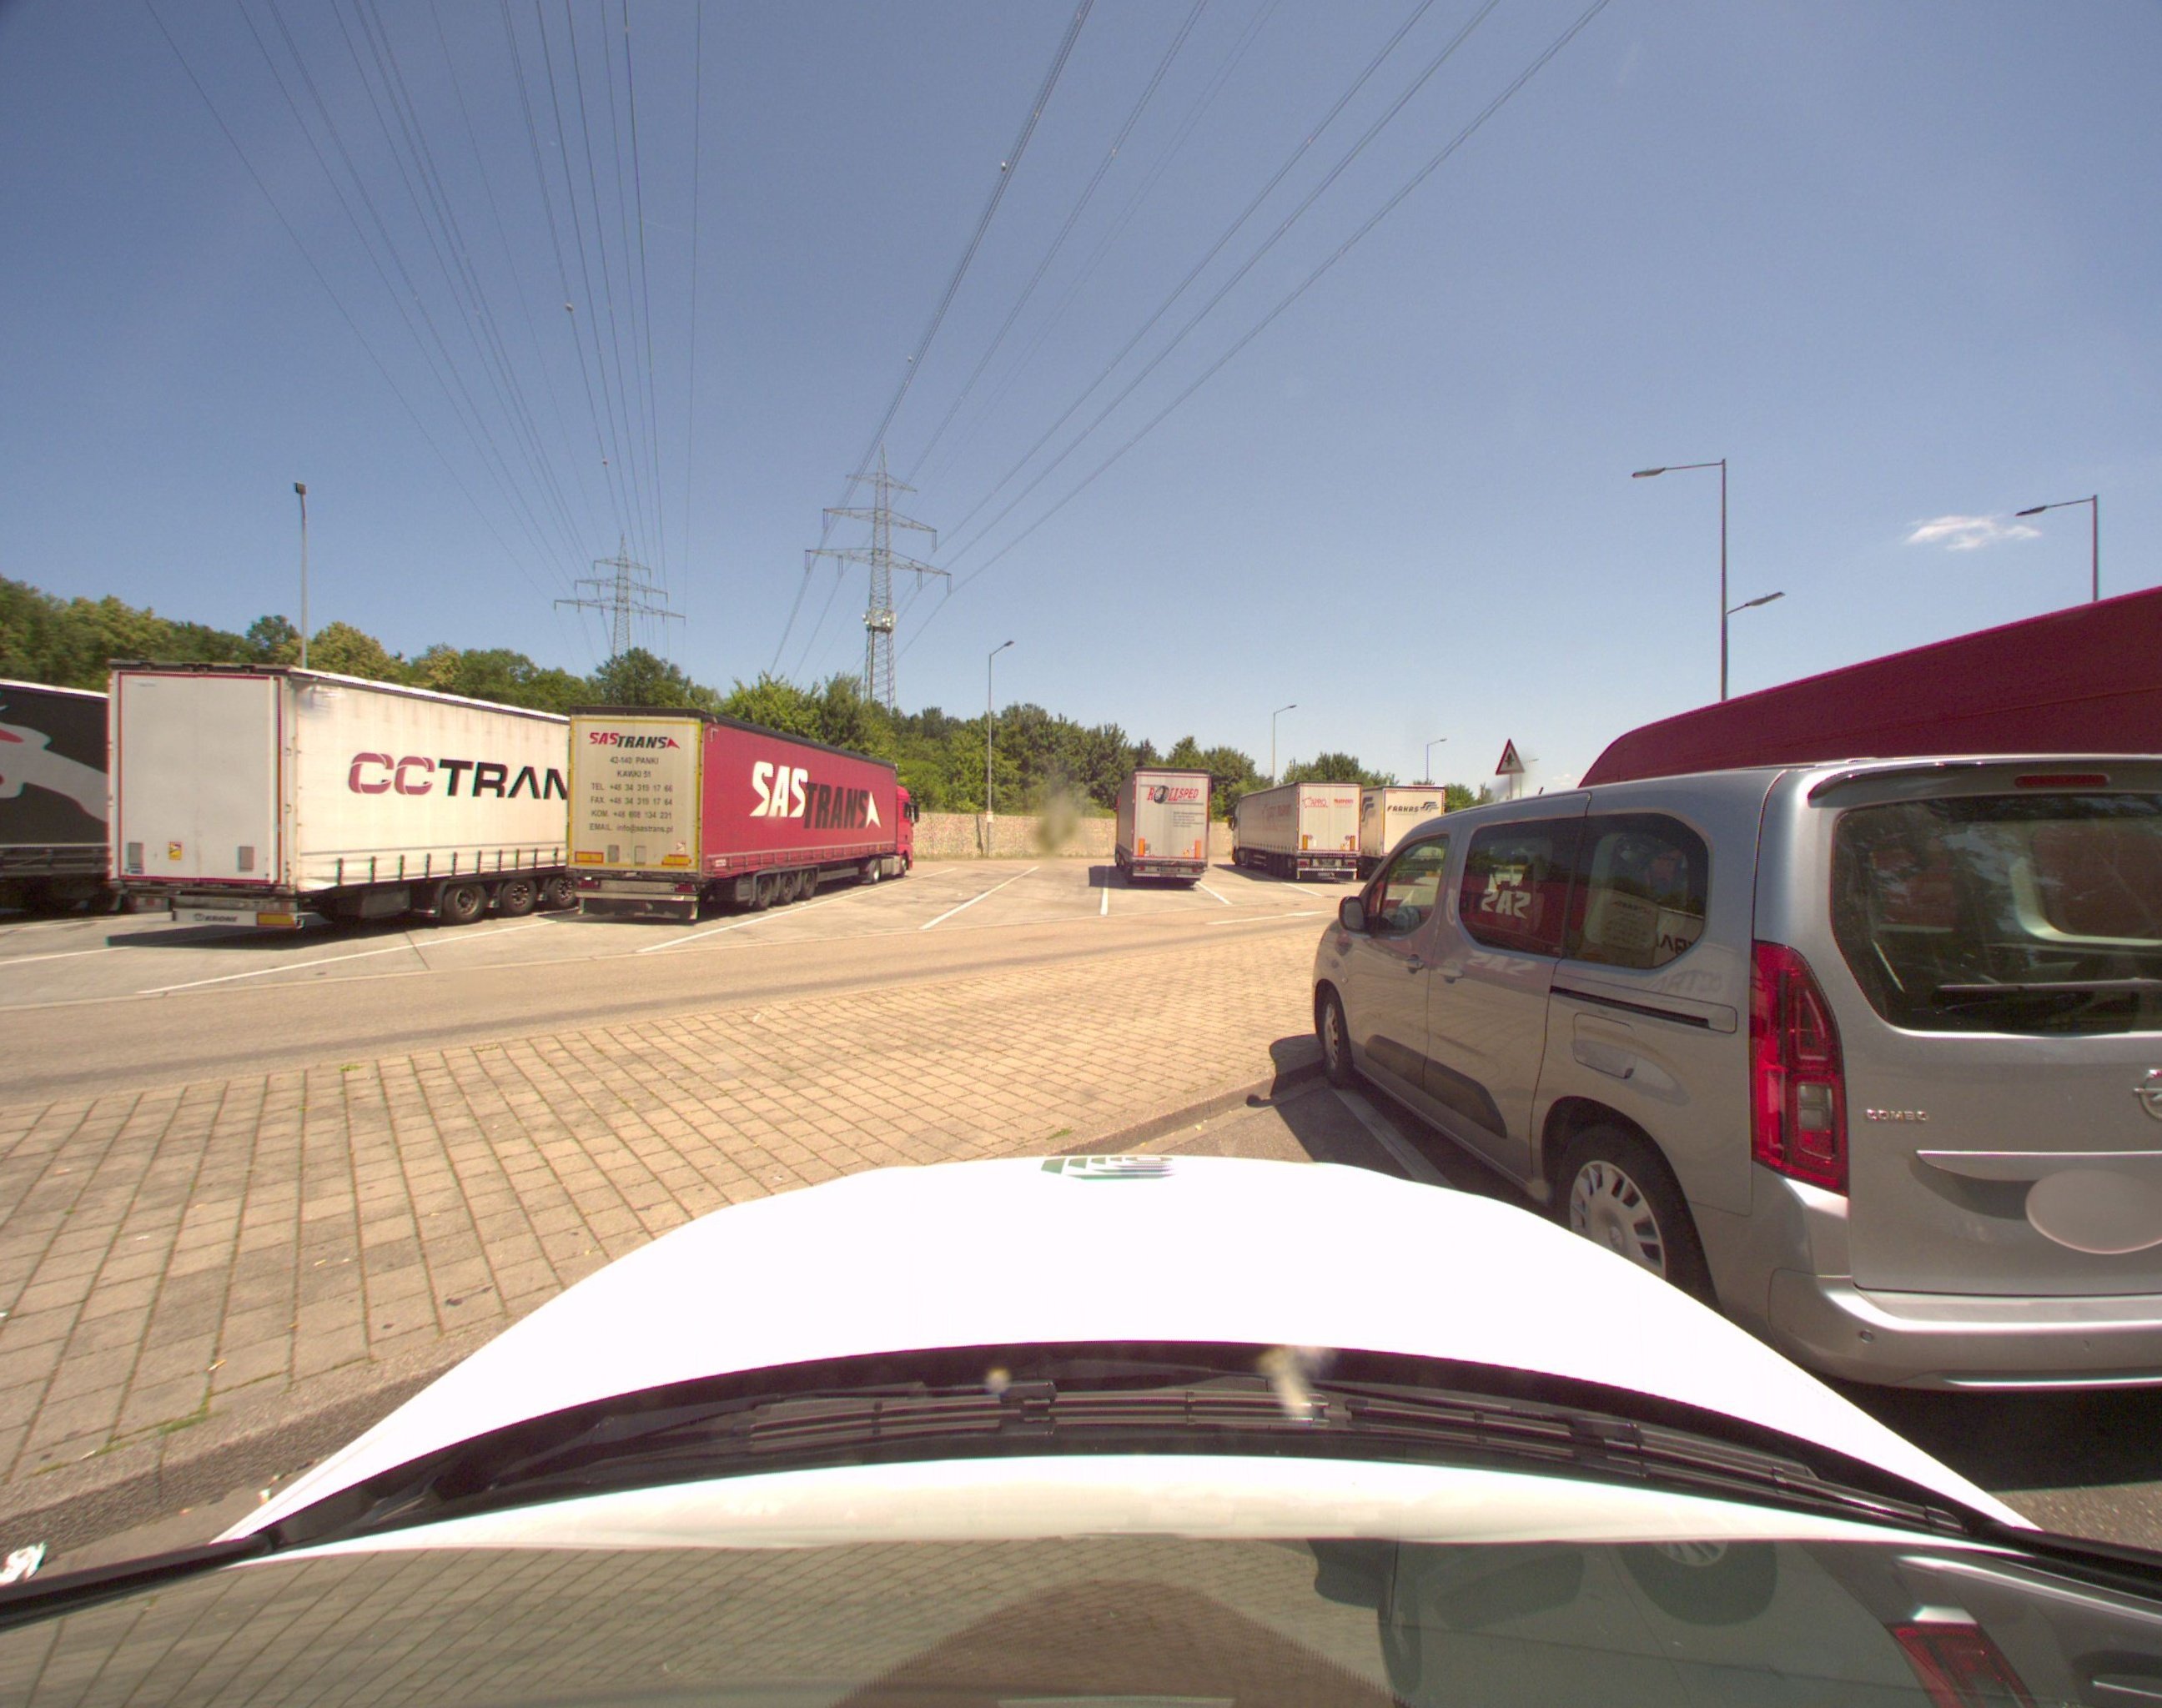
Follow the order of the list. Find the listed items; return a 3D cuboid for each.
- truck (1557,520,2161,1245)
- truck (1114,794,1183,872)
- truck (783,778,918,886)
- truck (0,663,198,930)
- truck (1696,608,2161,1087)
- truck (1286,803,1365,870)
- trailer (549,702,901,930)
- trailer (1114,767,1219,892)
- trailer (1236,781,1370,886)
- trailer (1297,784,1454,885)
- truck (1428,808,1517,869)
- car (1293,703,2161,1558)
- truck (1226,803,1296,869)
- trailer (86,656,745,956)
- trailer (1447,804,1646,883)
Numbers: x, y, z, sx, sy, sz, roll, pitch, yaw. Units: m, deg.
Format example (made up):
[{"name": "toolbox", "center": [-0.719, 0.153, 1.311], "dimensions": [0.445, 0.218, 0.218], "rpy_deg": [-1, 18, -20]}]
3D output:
[{"name": "truck", "center": [5.135, 0.121, 4.895], "dimensions": [1.968, 2.622, 5.314], "rpy_deg": [0, -1, 7]}, {"name": "truck", "center": [3.231, -1.078, 40.578], "dimensions": [3.092, 3.566, 5.903], "rpy_deg": [1, 2, 2]}, {"name": "truck", "center": [-7.814, -0.781, 28.464], "dimensions": [2.840, 3.327, 5.903], "rpy_deg": [1, 2, 2]}, {"name": "truck", "center": [-18.540, -0.964, 13.773], "dimensions": [2.726, 4.239, 3.997], "rpy_deg": [1, 2, 2]}, {"name": "truck", "center": [7.991, -0.035, 6.443], "dimensions": [2.444, 2.912, 5.663], "rpy_deg": [-1, -1, 7]}, {"name": "truck", "center": [13.846, -1.033, 46.604], "dimensions": [2.792, 3.521, 5.903], "rpy_deg": [1, 2, 2]}, {"name": "trailer", "center": [-8.063, -0.944, 21.894], "dimensions": [2.781, 4.084, 14.139], "rpy_deg": [1, 2, 2]}, {"name": "trailer", "center": [3.065, -1.062, 33.684], "dimensions": [3.122, 3.989, 14.401], "rpy_deg": [1, 2, 1]}, {"name": "trailer", "center": [9.931, -1.043, 38.632], "dimensions": [2.801, 3.989, 14.403], "rpy_deg": [1, 2, 2]}, {"name": "trailer", "center": [13.604, -1.035, 39.594], "dimensions": [2.801, 3.989, 14.403], "rpy_deg": [1, 2, 2]}, {"name": "truck", "center": [24.358, -1.006, 50.972], "dimensions": [2.792, 3.521, 5.903], "rpy_deg": [1, 2, 2]}, {"name": "car", "center": [2.489, 0.576, 3.871], "dimensions": [1.864, 1.863, 4.176], "rpy_deg": [1, 1, 0]}, {"name": "truck", "center": [10.194, -1.073, 46.733], "dimensions": [2.852, 3.521, 5.903], "rpy_deg": [1, 2, 2]}, {"name": "trailer", "center": [-12.127, -0.907, 18.325], "dimensions": [2.785, 4.084, 14.139], "rpy_deg": [1, 2, 2]}, {"name": "trailer", "center": [24.102, -0.734, 43.740], "dimensions": [2.801, 3.507, 14.403], "rpy_deg": [1, 2, 2]}]
